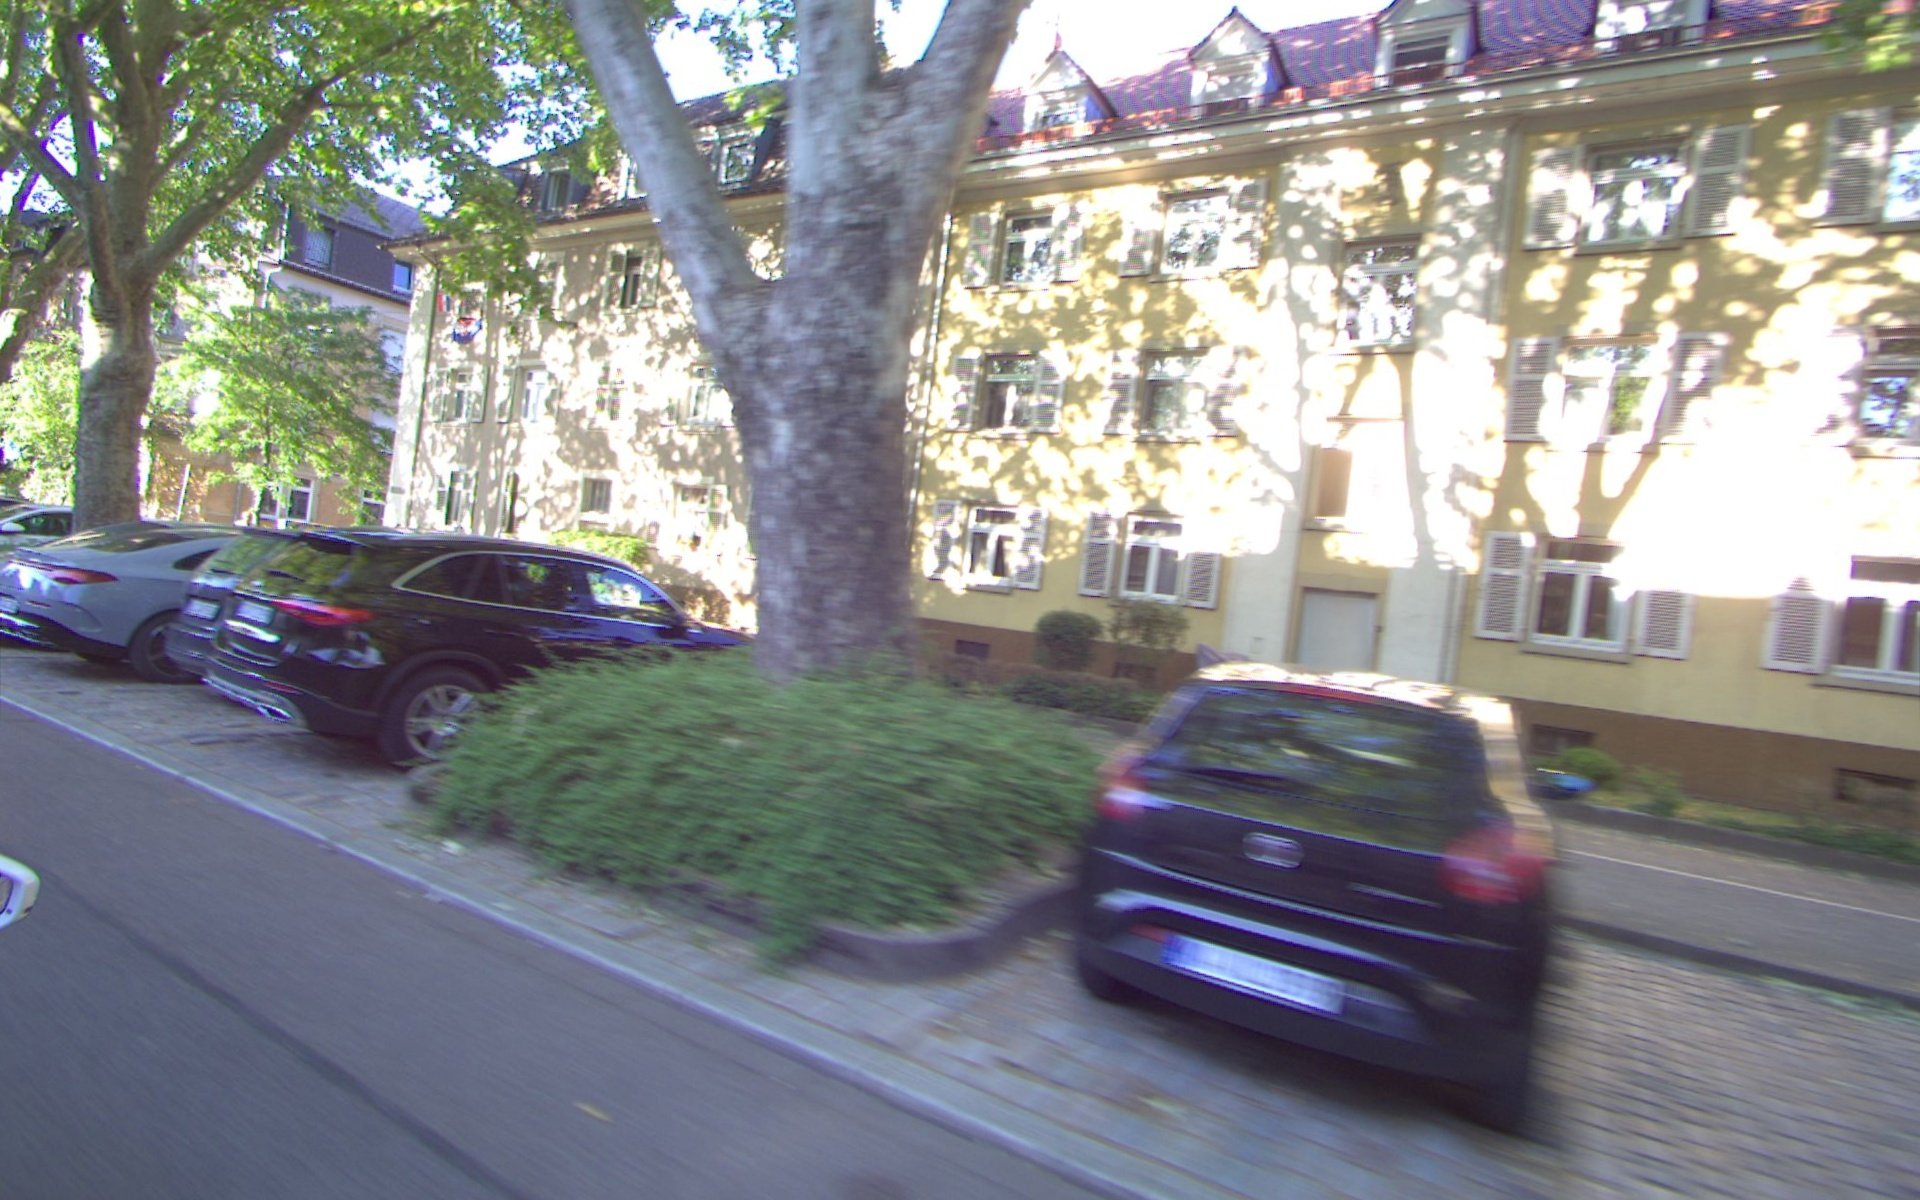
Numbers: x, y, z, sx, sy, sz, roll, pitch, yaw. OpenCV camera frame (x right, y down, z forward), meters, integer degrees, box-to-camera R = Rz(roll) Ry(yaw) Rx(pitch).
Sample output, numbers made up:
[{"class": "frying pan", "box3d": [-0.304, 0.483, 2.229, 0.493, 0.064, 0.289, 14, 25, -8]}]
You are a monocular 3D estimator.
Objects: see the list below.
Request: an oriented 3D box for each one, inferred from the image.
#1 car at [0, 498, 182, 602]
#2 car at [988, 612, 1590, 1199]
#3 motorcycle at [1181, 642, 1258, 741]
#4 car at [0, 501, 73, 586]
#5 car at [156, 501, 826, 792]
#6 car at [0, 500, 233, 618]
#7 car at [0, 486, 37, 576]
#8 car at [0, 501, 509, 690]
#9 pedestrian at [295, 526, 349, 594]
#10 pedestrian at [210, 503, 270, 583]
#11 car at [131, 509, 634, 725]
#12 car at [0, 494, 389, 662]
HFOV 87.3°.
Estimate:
[{"class": "car", "box3d": [-15.821, -0.943, 16.907, 1.724, 1.452, 3.889, 7, -1, 31]}, {"class": "car", "box3d": [1.880, 1.048, 4.820, 1.682, 1.527, 3.845, 7, -1, 31]}, {"class": "motorcycle", "box3d": [4.123, 1.400, 15.876, 0.612, 1.379, 1.805, 7, 2, 29]}, {"class": "car", "box3d": [-18.205, -1.201, 17.537, 1.858, 1.394, 3.655, 7, -1, 32]}, {"class": "car", "box3d": [-3.435, 0.348, 8.242, 1.995, 1.622, 4.495, 7, 1, 35]}, {"class": "car", "box3d": [-14.095, -0.722, 15.127, 1.861, 1.463, 4.694, 7, -1, 32]}, {"class": "car", "box3d": [-20.079, -1.564, 18.613, 1.927, 1.690, 3.932, 7, -1, 30]}, {"class": "car", "box3d": [-7.284, 0.058, 10.492, 1.915, 1.456, 4.303, 7, -1, 30]}, {"class": "pedestrian", "box3d": [-15.251, -0.953, 24.043, 0.807, 1.473, 0.662, 7, 0, 32]}, {"class": "pedestrian", "box3d": [-17.140, -1.361, 23.956, 0.807, 1.760, 0.761, 7, 0, 31]}, {"class": "car", "box3d": [-5.263, 0.242, 9.623, 1.748, 1.565, 3.682, 7, -1, 33]}, {"class": "car", "box3d": [-9.327, -0.213, 11.792, 1.766, 1.527, 4.148, 7, -1, 32]}]
